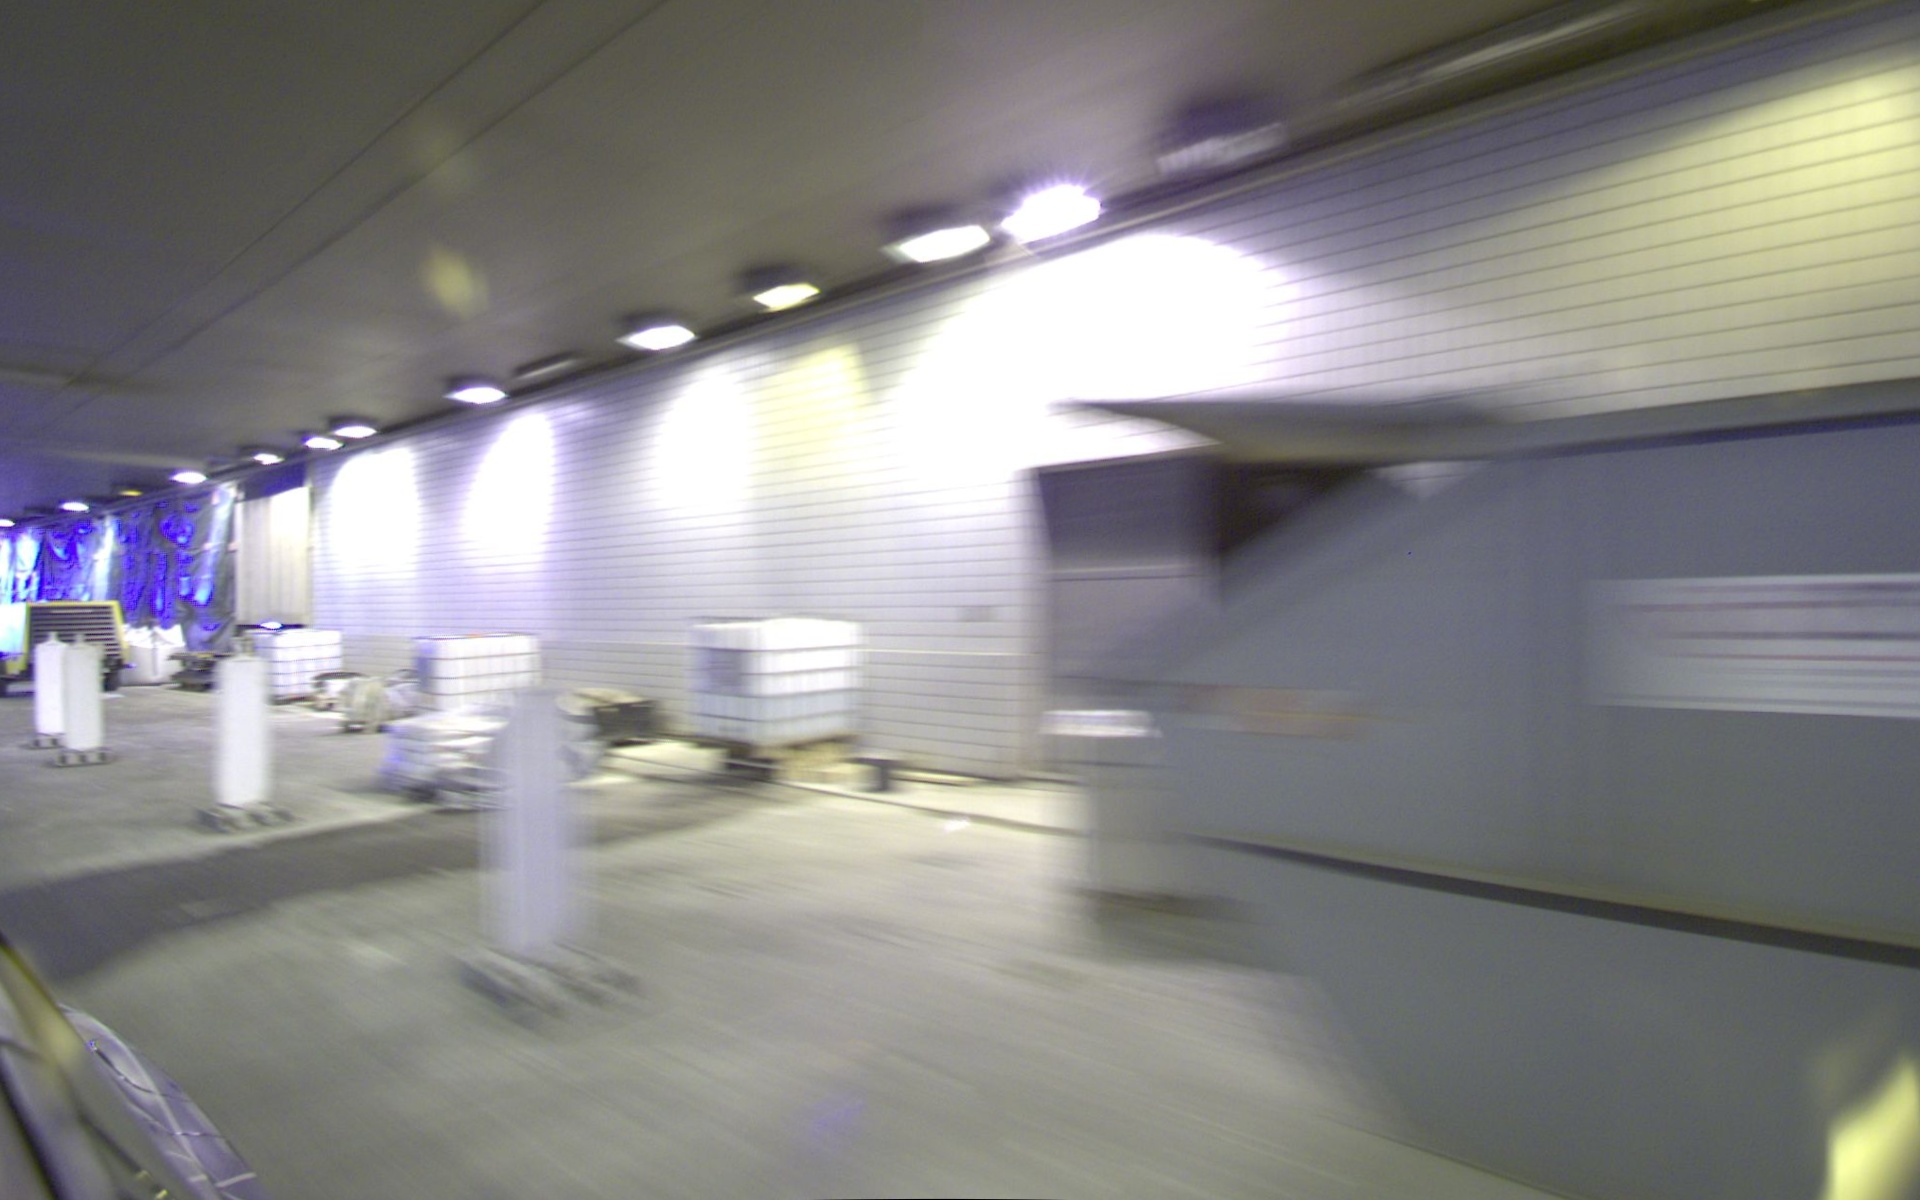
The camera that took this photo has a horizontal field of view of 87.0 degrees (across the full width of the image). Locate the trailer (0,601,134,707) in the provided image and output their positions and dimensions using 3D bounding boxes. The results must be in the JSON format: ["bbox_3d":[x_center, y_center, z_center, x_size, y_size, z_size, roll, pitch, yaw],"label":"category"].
[{"bbox_3d":[-17.017,0.937,18.974,3.116,1.804,1.625,-1,0,36],"label":"trailer"}]
